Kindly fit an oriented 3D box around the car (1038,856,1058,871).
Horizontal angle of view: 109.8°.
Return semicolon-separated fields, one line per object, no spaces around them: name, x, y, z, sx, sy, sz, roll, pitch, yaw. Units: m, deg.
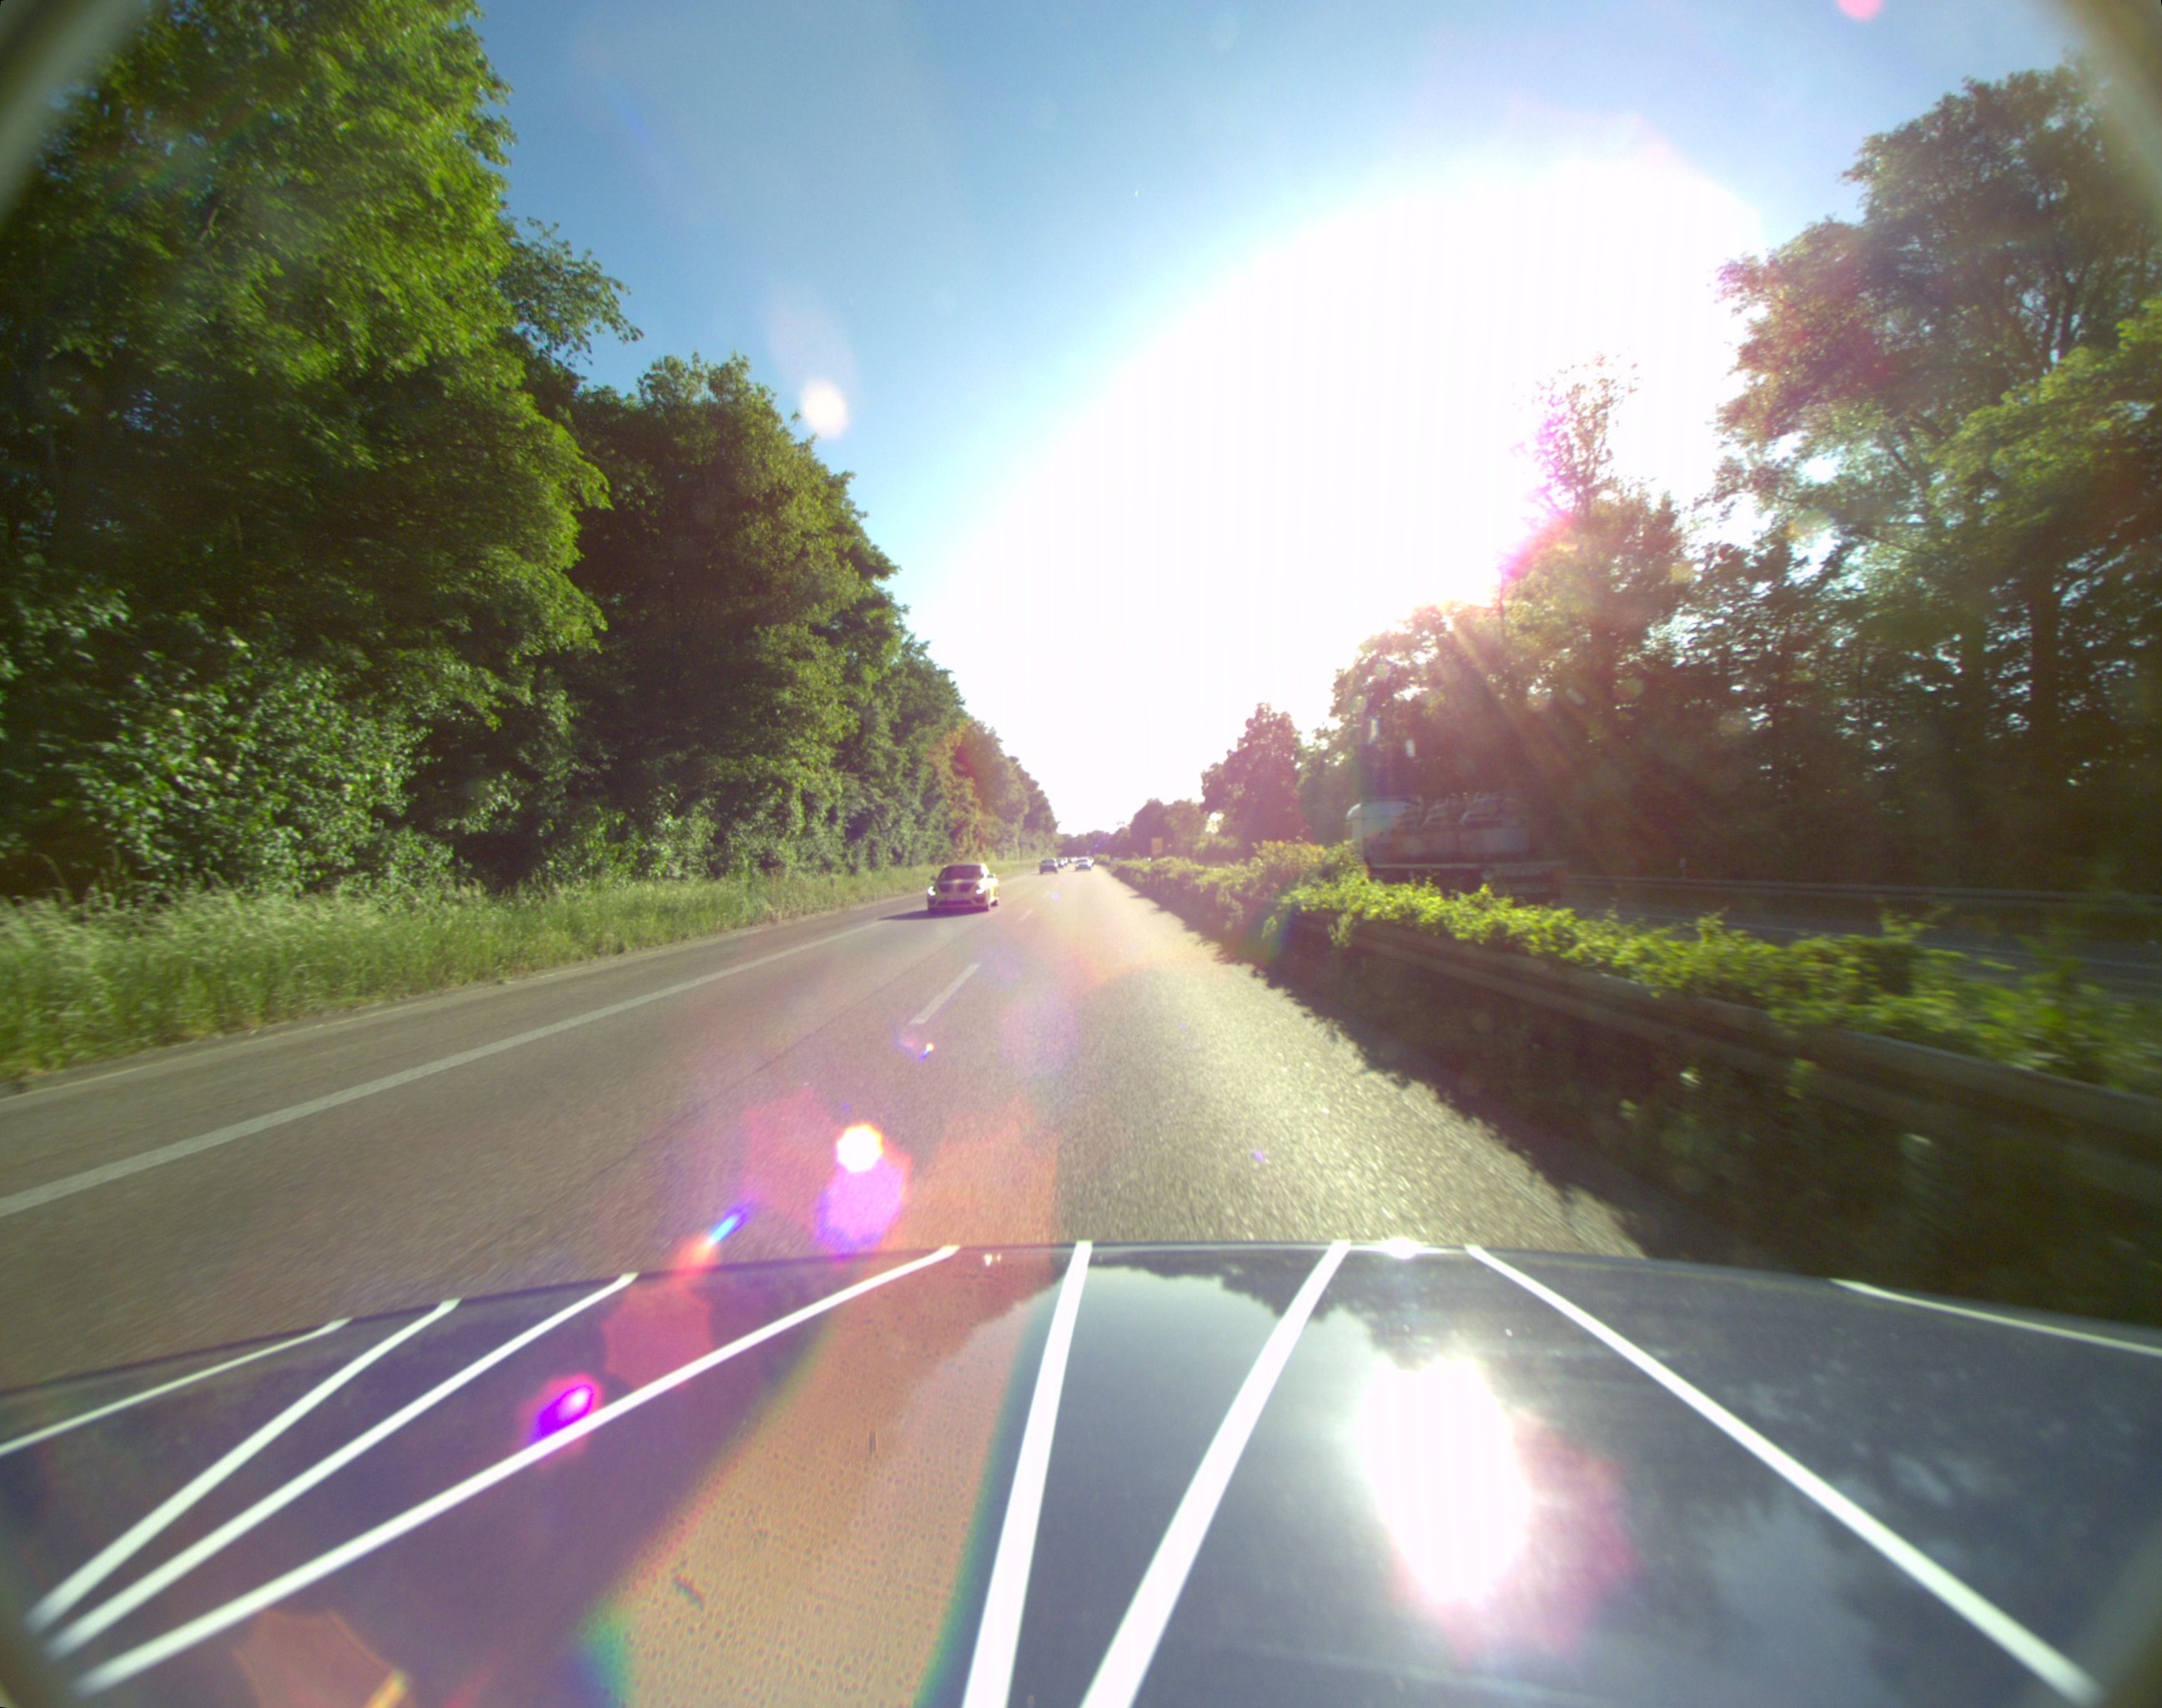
car;-3.331;0.967;76.994;1.795;1.440;3.877;-2;0;0

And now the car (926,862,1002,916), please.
car;-3.605;1.042;24.019;1.795;1.440;3.877;-2;0;0

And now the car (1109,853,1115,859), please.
car;10.174;0.626;249.988;1.642;1.694;3.793;-2;1;0

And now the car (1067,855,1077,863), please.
car;-1.670;0.975;142.261;1.795;1.440;3.877;-2;0;0

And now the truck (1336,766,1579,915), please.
truck;12.130;-0.428;26.329;2.776;3.932;11.465;-2;1;1

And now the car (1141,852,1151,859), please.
car;13.172;0.317;153.992;1.649;1.215;4.262;-2;0;0

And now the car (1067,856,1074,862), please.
car;-2.675;1.288;194.657;1.795;1.440;3.877;-2;0;0

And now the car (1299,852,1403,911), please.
car;8.837;0.833;25.300;1.800;1.659;4.697;-2;1;1

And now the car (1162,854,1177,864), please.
car;13.074;0.736;112.368;1.737;1.400;4.556;-2;0;0

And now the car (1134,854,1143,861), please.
car;13.780;0.810;181.955;1.752;1.417;4.135;-2;1;0

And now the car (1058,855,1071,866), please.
car;-2.478;0.958;114.309;1.795;1.440;3.877;-2;0;0

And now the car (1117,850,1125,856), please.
car;10.096;-0.187;193.757;1.752;1.417;5.204;-2;1;0

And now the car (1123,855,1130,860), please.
car;14.326;1.107;240.091;1.752;1.486;3.976;-2;1;0

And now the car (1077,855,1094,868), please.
car;0.524;0.855;87.867;1.890;1.440;3.878;-2;0;1
